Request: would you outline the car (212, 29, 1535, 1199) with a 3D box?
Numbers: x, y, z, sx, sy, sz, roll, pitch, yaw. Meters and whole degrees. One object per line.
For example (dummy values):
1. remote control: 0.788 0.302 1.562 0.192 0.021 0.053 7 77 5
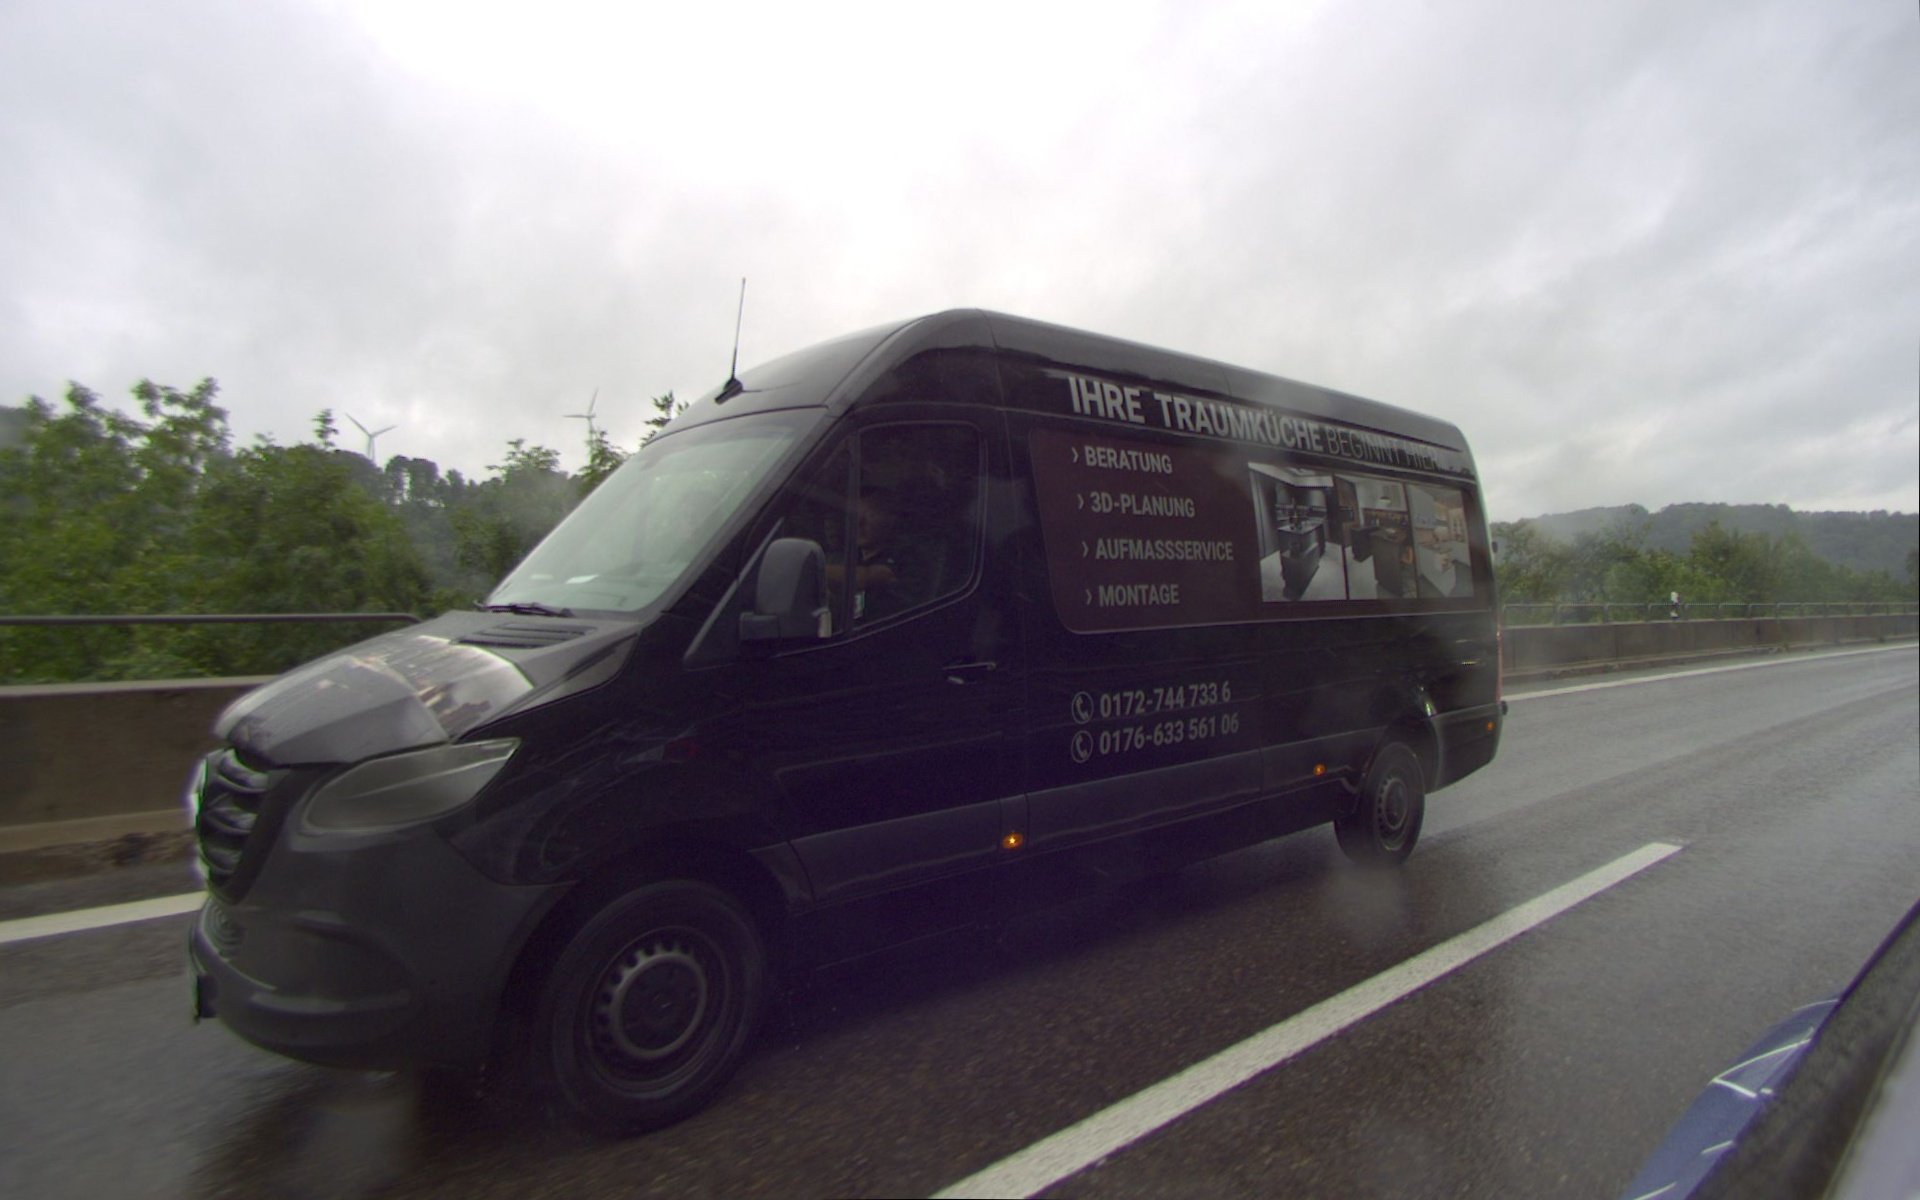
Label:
1. car: 0.476 0.068 4.985 6.587 2.525 1.997 0 1 -41
